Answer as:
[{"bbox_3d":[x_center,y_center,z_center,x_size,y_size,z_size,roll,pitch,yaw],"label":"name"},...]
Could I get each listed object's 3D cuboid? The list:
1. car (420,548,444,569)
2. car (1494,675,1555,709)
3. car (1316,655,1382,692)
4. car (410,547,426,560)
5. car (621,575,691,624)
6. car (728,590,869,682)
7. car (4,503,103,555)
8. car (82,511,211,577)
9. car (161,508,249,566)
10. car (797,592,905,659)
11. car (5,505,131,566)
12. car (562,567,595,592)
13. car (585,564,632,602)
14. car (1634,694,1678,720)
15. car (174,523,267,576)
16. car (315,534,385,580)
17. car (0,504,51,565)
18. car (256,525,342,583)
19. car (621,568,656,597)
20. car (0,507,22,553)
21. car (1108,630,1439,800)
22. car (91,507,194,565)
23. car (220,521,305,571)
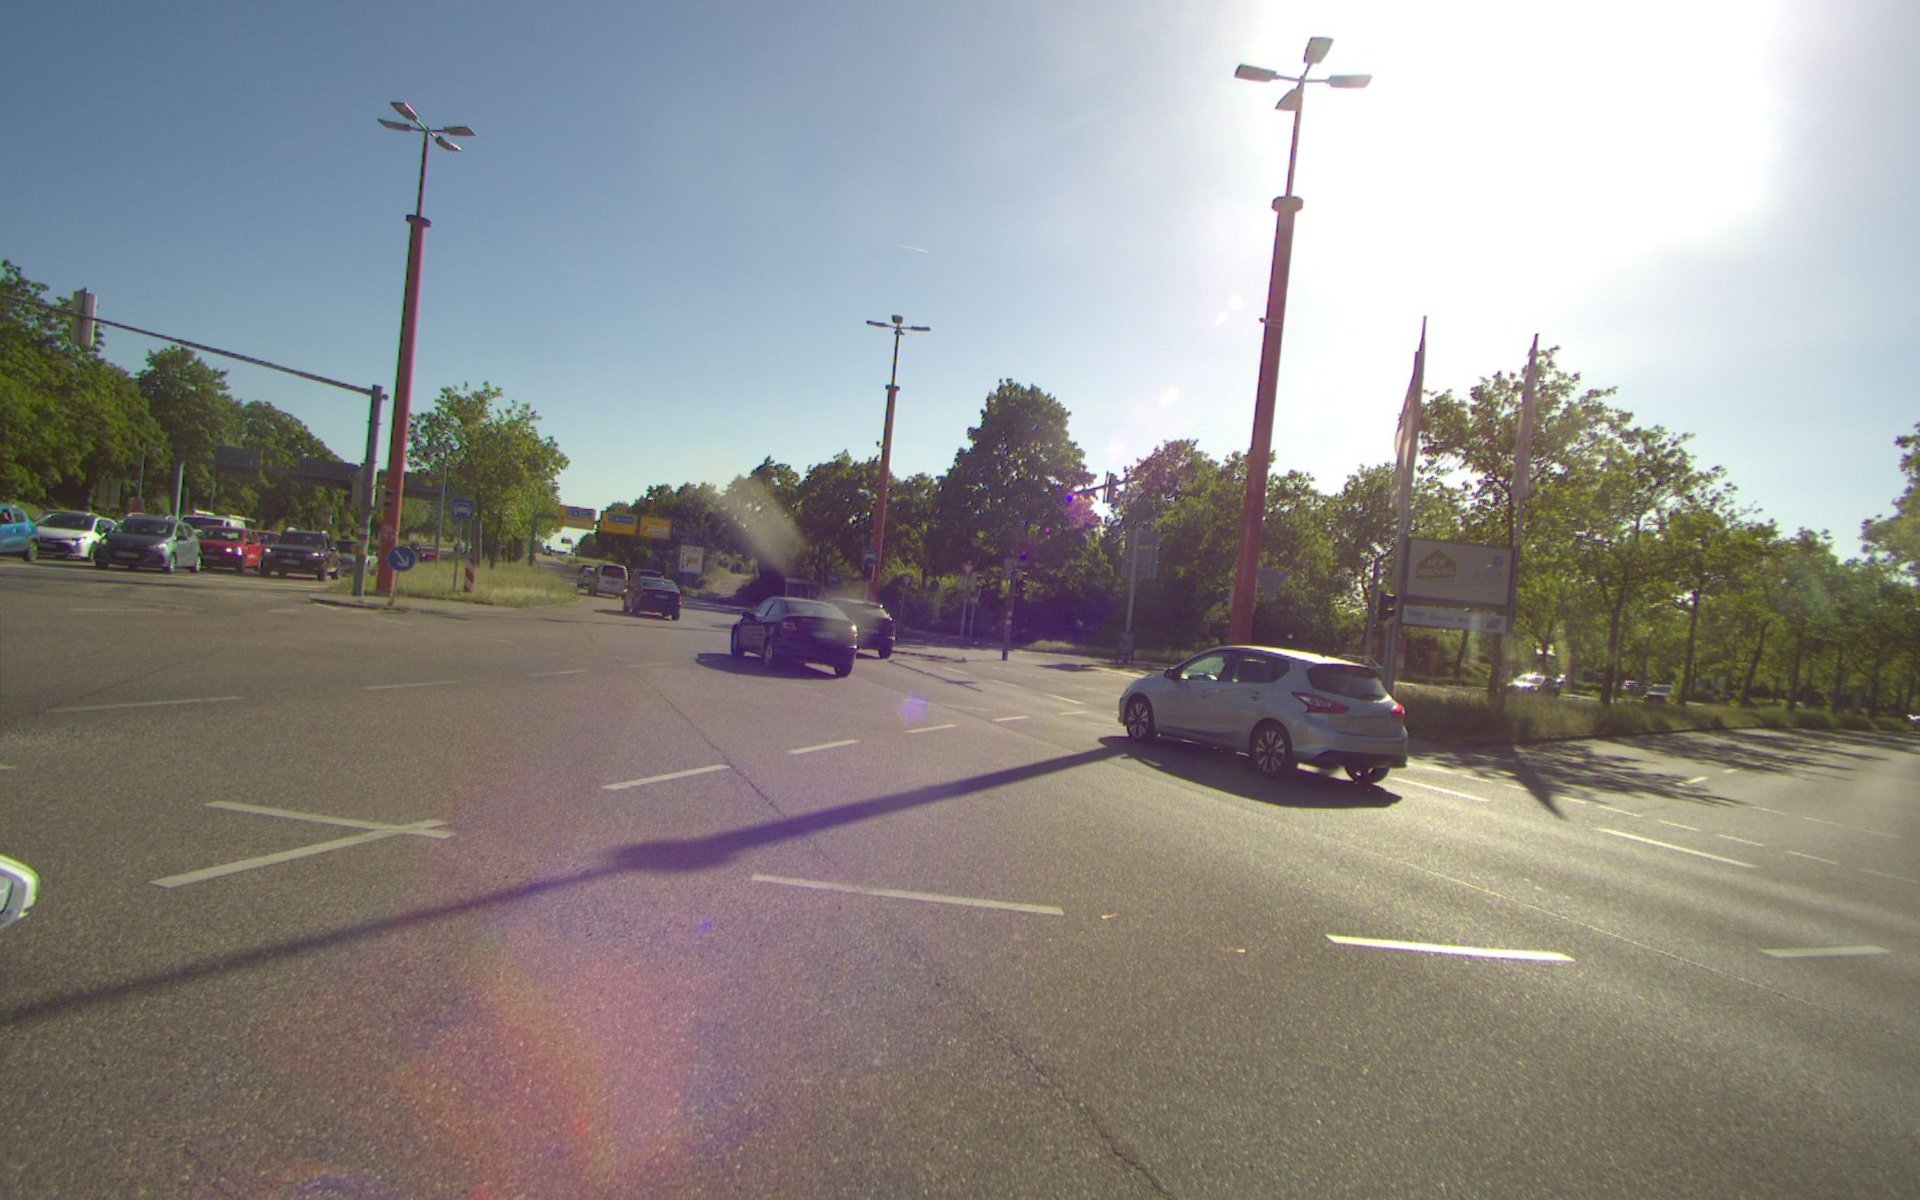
[{"bbox_3d":[-53.417,-4.247,101.760,1.899,1.869,3.932,6,0,-29],"label":"car"},{"bbox_3d":[32.437,5.304,57.756,4.199,1.526,1.752,9,-2,-43],"label":"car"},{"bbox_3d":[20.917,3.966,54.020,1.842,1.535,4.117,6,-2,43],"label":"car"},{"bbox_3d":[-88.579,-7.530,164.574,1.897,1.869,3.937,6,0,-25],"label":"car"},{"bbox_3d":[-11.308,-0.038,37.272,1.697,1.472,4.170,6,0,-27],"label":"car"},{"bbox_3d":[-3.410,0.669,20.575,1.702,1.437,4.026,7,-1,-25],"label":"car"},{"bbox_3d":[-34.875,-2.684,38.811,1.761,1.673,3.950,4,0,-26],"label":"car"},{"bbox_3d":[-22.941,-1.562,28.536,1.855,1.571,4.002,4,1,-25],"label":"car"},{"bbox_3d":[-32.998,-2.686,44.130,1.943,2.182,5.050,6,0,-25],"label":"car"},{"bbox_3d":[-3.226,0.680,29.115,1.751,1.526,4.202,8,-1,-24],"label":"car"},{"bbox_3d":[-27.928,-1.976,31.650,1.883,1.574,3.974,5,0,-26],"label":"car"},{"bbox_3d":[-26.880,-1.467,70.816,1.787,1.511,4.656,8,-1,-24],"label":"car"},{"bbox_3d":[-19.739,-0.970,56.404,1.788,1.843,4.558,7,-1,-26],"label":"car"},{"bbox_3d":[53.063,8.179,76.643,4.198,1.526,1.753,9,-2,-42],"label":"car"},{"bbox_3d":[-25.214,-1.694,34.431,1.856,1.572,3.974,3,1,-26],"label":"car"},{"bbox_3d":[-24.495,-1.717,40.512,1.867,1.563,3.976,5,0,-25],"label":"car"},{"bbox_3d":[-25.508,-1.771,26.035,1.783,1.535,3.836,5,0,-25],"label":"car"},{"bbox_3d":[-21.915,-1.525,33.510,1.776,1.647,4.117,5,0,-26],"label":"car"},{"bbox_3d":[-23.547,-1.296,73.560,1.786,1.875,5.074,6,0,-24],"label":"car"},{"bbox_3d":[-32.641,-2.394,32.686,1.866,1.532,3.977,5,0,-24],"label":"car"},{"bbox_3d":[3.883,1.393,13.251,1.706,1.535,4.113,8,-1,-25],"label":"car"},{"bbox_3d":[-30.435,-2.334,37.591,1.855,1.806,3.978,6,0,-23],"label":"car"},{"bbox_3d":[-27.579,-2.093,39.893,1.882,1.649,3.978,6,-1,-24],"label":"car"}]
